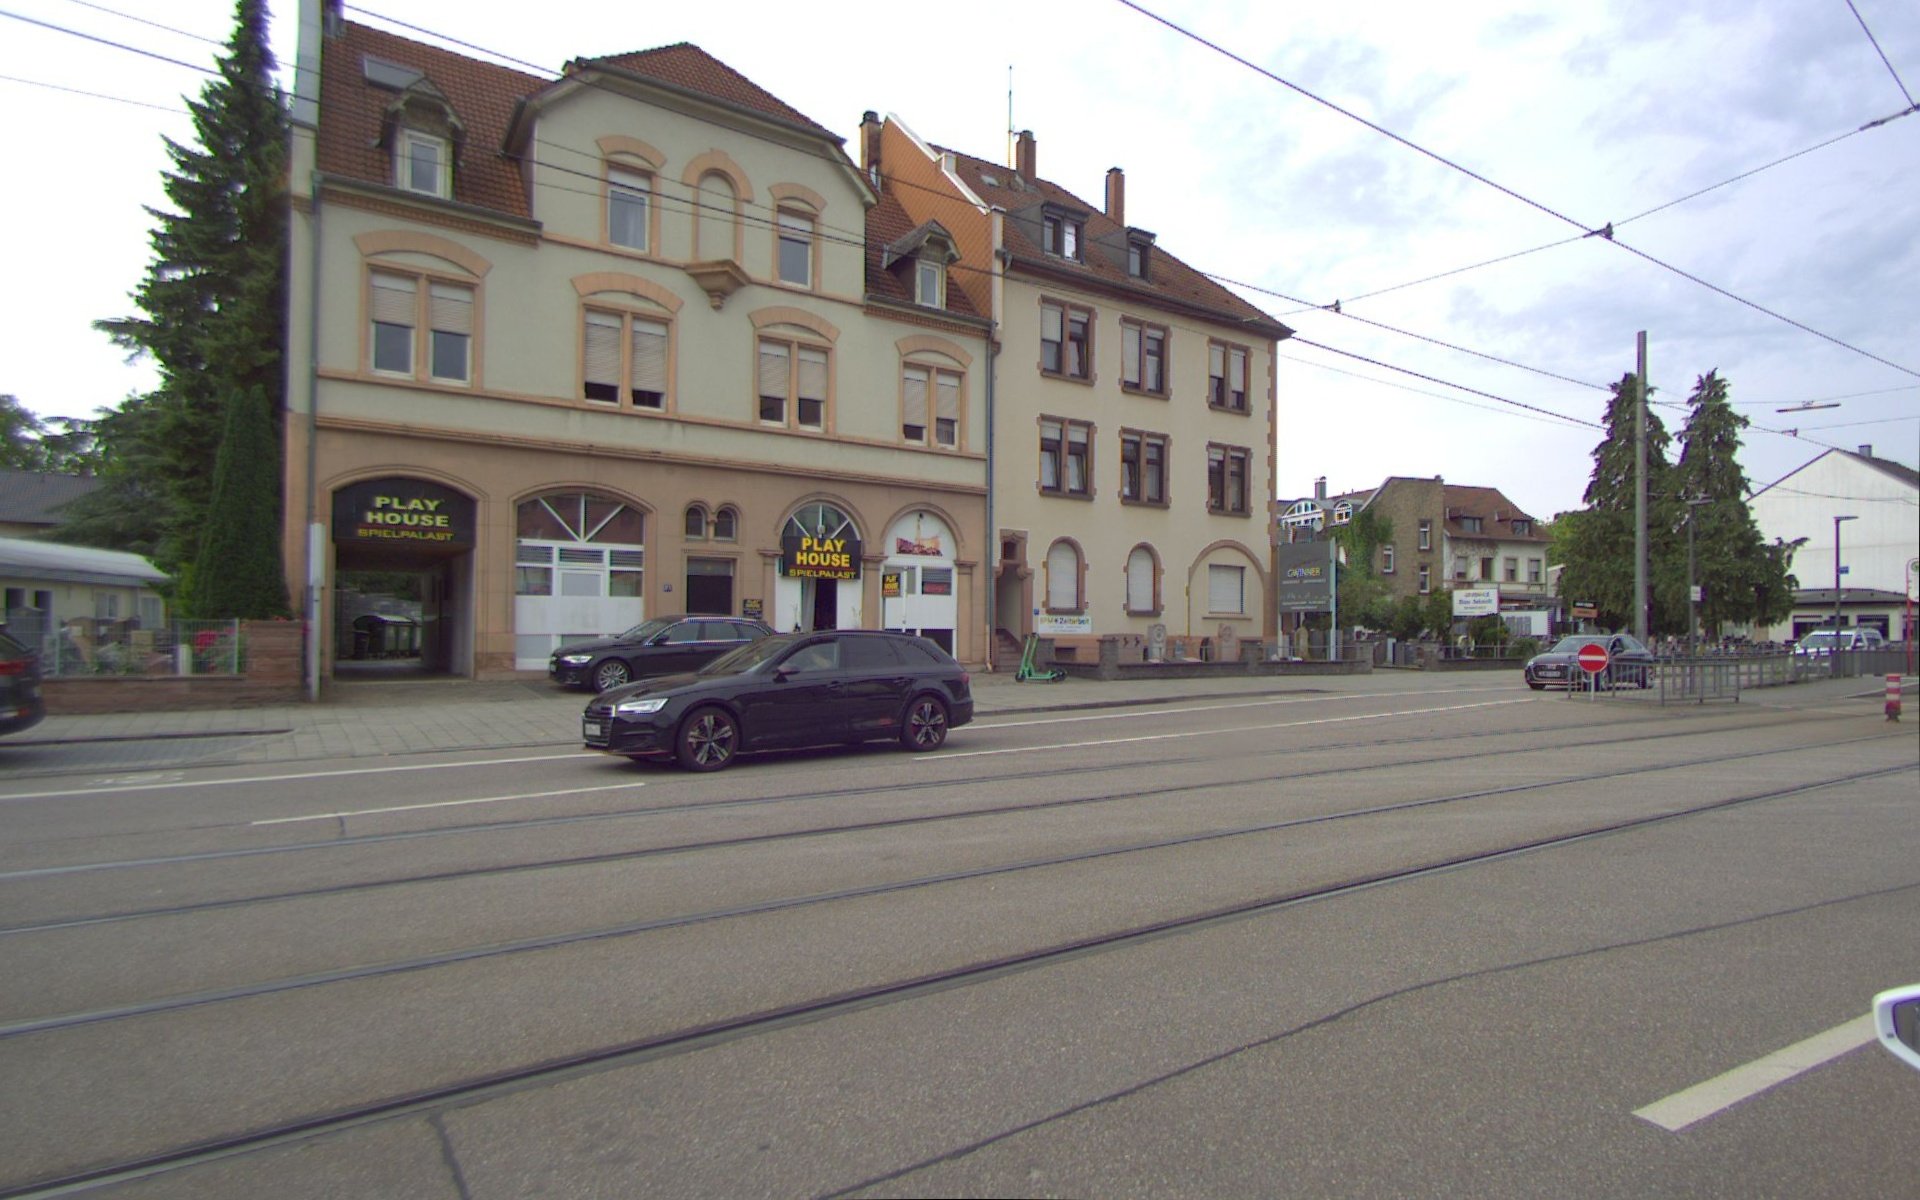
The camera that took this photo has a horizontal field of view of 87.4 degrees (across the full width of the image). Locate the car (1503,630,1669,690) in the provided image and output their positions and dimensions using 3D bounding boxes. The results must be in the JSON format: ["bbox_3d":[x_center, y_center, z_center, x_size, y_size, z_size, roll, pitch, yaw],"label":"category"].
[{"bbox_3d":[16.500,1.555,26.453,4.372,1.447,1.873,2,-3,-30],"label":"car"}]

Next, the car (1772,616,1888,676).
[{"bbox_3d":[31.171,1.637,35.973,4.474,2.015,1.875,2,-3,-31],"label":"car"}]

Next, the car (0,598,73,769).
[{"bbox_3d":[-12.230,0.861,10.309,4.492,1.773,2.022,1,0,-37],"label":"car"}]

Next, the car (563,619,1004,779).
[{"bbox_3d":[-1.864,1.033,11.678,4.782,1.492,1.888,2,-4,-41],"label":"car"}]

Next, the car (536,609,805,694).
[{"bbox_3d":[-5.786,1.009,20.319,4.853,1.512,1.981,2,-1,-35],"label":"car"}]

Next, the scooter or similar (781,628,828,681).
[{"bbox_3d":[-3.538,1.224,22.775,0.523,1.116,1.165,2,1,-37],"label":"scooter or similar"}]

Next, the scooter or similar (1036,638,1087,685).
[{"bbox_3d":[2.568,1.532,25.333,1.156,1.116,0.527,1,-1,27],"label":"scooter or similar"}]

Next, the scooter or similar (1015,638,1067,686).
[{"bbox_3d":[1.998,1.506,24.722,1.156,1.116,0.527,1,-1,27],"label":"scooter or similar"}]
